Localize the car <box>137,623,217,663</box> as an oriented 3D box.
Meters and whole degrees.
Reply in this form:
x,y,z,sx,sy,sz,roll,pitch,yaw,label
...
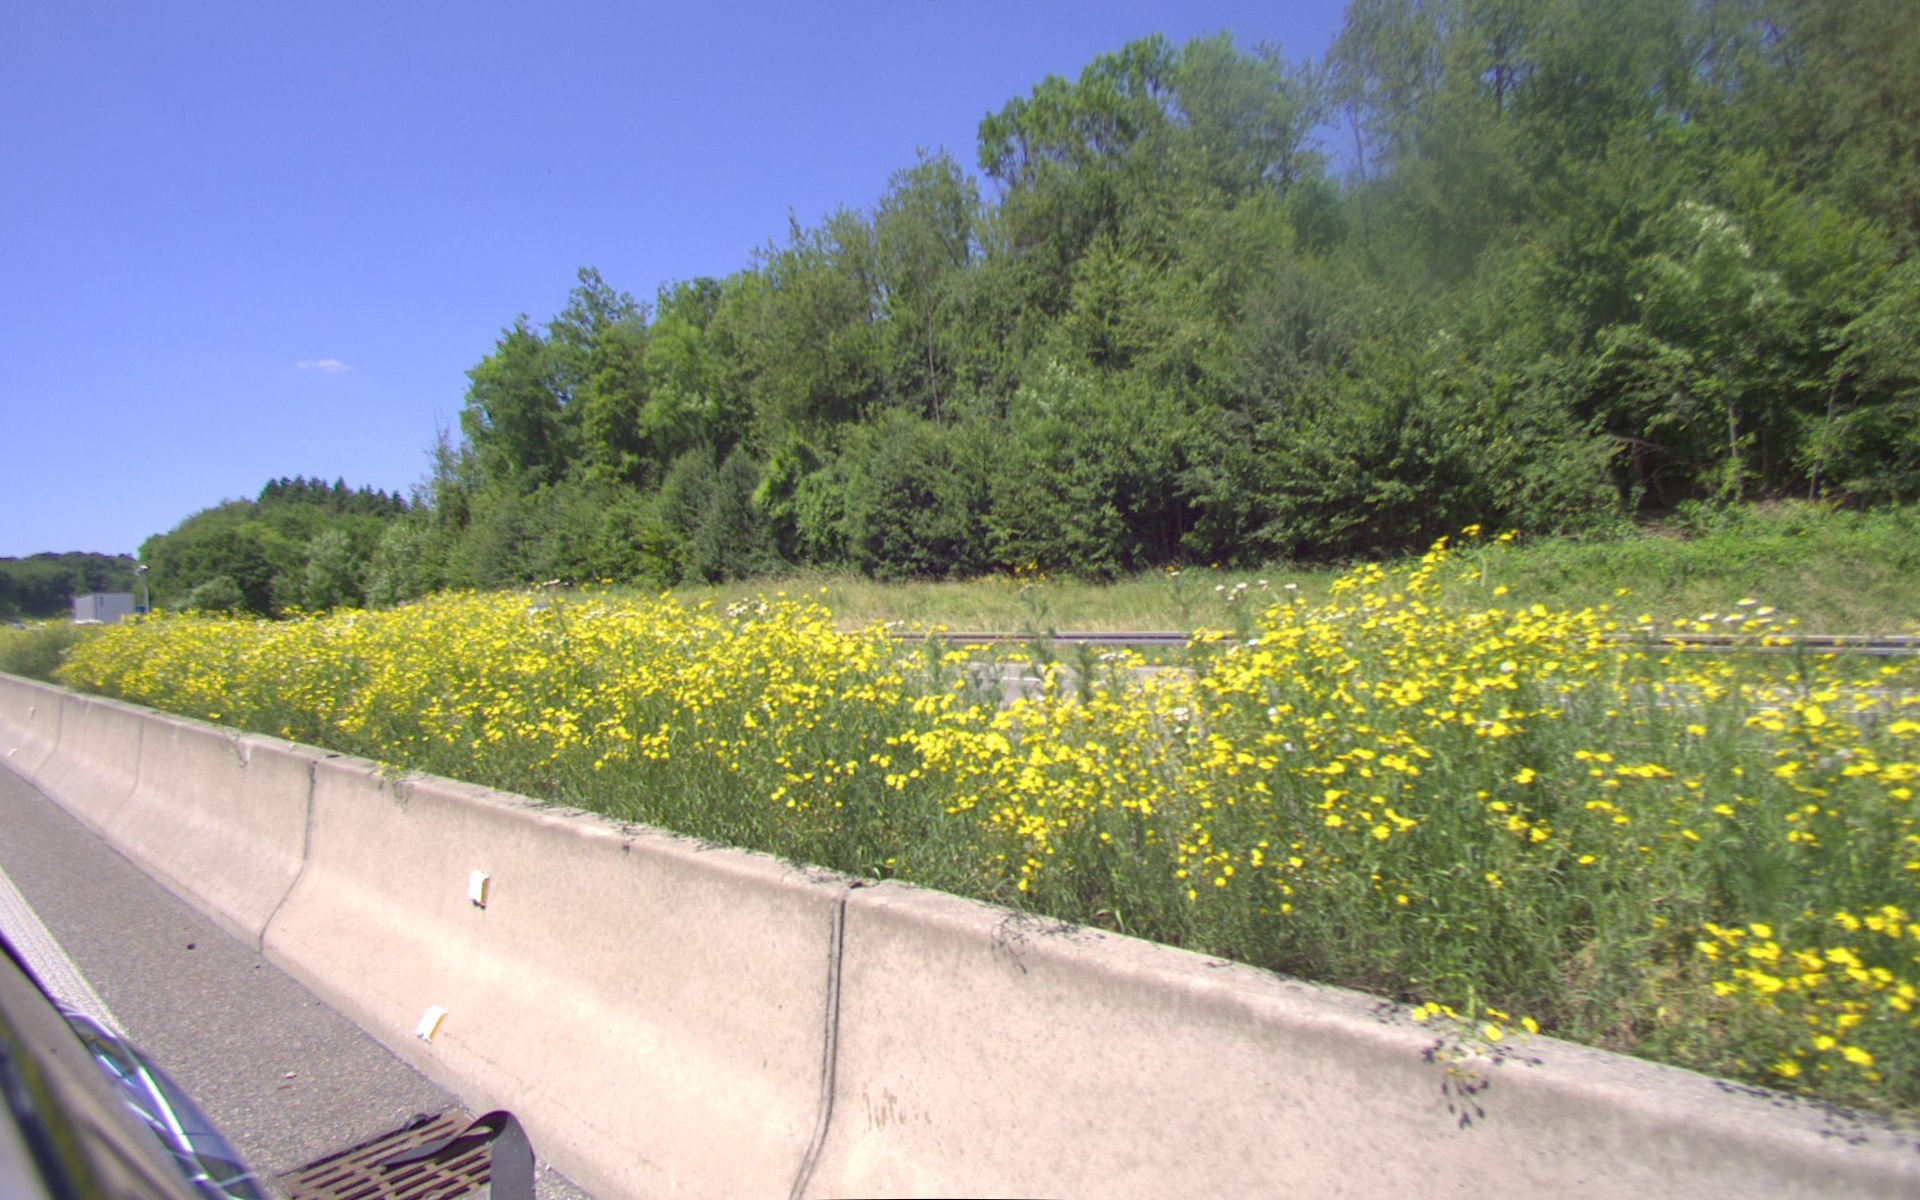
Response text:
x,y,z,sx,sy,sz,roll,pitch,yaw,label
-33.456,1.805,43.205,4.063,1.584,1.973,-2,-1,41,car

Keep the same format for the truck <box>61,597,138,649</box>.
x,y,z,sx,sy,sz,roll,pitch,yaw,label
-69.832,1.913,81.986,13.738,3.968,2.799,-2,-1,41,truck

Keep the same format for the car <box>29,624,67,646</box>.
x,y,z,sx,sy,sz,roll,pitch,yaw,label
-67.610,2.604,75.011,3.881,1.509,1.658,-2,-1,42,car

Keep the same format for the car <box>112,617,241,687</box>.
x,y,z,sx,sy,sz,roll,pitch,yaw,label
-18.944,1.209,24.407,3.998,1.510,1.718,-2,-1,41,car

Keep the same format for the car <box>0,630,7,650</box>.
x,y,z,sx,sy,sz,roll,pitch,yaw,label
-73.081,3.024,75.930,4.657,1.514,1.918,-2,-1,41,car

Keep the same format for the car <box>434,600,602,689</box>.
x,y,z,sx,sy,sz,roll,pitch,yaw,label
-9.651,0.930,21.968,4.146,1.747,1.719,-2,-1,41,car

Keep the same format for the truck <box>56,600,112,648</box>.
x,y,z,sx,sy,sz,roll,pitch,yaw,label
-74.744,2.069,86.313,6.003,3.969,2.800,-2,-1,41,truck

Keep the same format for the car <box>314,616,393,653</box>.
x,y,z,sx,sy,sz,roll,pitch,yaw,label
-29.827,1.694,49.740,4.765,1.705,1.973,-2,-1,41,car

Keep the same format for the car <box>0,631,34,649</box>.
x,y,z,sx,sy,sz,roll,pitch,yaw,label
-82.110,3.460,87.970,4.246,1.509,1.972,-2,-1,42,car

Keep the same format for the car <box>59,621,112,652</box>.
x,y,z,sx,sy,sz,roll,pitch,yaw,label
-52.906,2.184,61.235,4.275,1.768,1.865,-2,-1,41,car

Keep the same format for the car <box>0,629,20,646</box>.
x,y,z,sx,sy,sz,roll,pitch,yaw,label
-118.301,4.675,126.007,1.790,2.029,4.005,-1,-1,-42,car

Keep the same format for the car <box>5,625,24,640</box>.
x,y,z,sx,sy,sz,roll,pitch,yaw,label
-175.667,6.002,188.066,6.063,2.722,2.191,-2,-1,43,car

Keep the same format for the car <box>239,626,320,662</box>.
x,y,z,sx,sy,sz,roll,pitch,yaw,label
-29.853,1.886,44.351,4.005,1.455,1.973,-2,-1,41,car
